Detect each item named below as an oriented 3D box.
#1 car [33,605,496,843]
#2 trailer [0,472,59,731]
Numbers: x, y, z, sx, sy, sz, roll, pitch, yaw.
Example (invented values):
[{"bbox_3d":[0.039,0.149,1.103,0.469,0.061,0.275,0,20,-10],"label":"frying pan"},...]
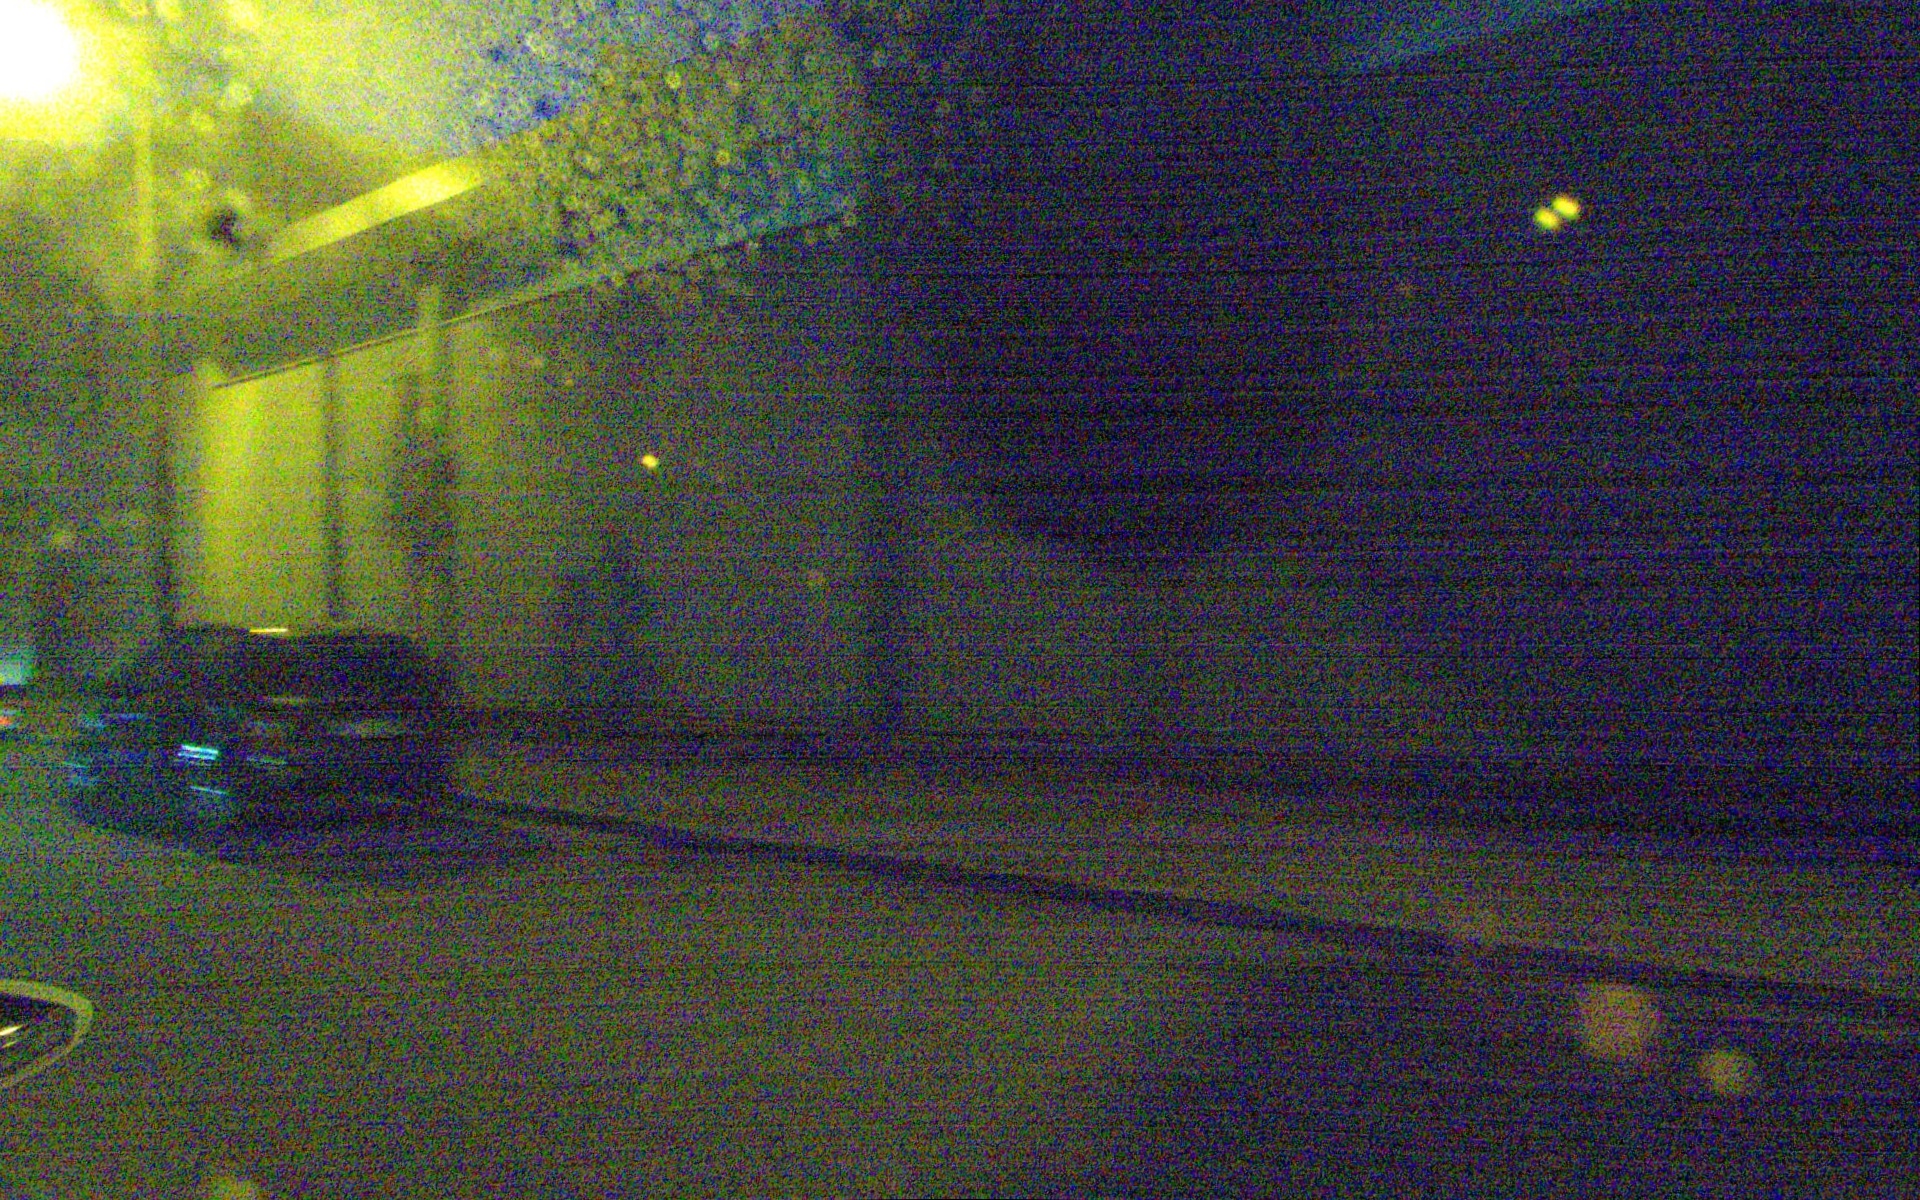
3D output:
[{"bbox_3d":[-5.892,0.875,8.411,3.764,1.539,1.848,-2,0,32],"label":"car"},{"bbox_3d":[-16.664,0.107,14.789,7.692,3.509,2.684,-2,-1,29],"label":"trailer"}]
